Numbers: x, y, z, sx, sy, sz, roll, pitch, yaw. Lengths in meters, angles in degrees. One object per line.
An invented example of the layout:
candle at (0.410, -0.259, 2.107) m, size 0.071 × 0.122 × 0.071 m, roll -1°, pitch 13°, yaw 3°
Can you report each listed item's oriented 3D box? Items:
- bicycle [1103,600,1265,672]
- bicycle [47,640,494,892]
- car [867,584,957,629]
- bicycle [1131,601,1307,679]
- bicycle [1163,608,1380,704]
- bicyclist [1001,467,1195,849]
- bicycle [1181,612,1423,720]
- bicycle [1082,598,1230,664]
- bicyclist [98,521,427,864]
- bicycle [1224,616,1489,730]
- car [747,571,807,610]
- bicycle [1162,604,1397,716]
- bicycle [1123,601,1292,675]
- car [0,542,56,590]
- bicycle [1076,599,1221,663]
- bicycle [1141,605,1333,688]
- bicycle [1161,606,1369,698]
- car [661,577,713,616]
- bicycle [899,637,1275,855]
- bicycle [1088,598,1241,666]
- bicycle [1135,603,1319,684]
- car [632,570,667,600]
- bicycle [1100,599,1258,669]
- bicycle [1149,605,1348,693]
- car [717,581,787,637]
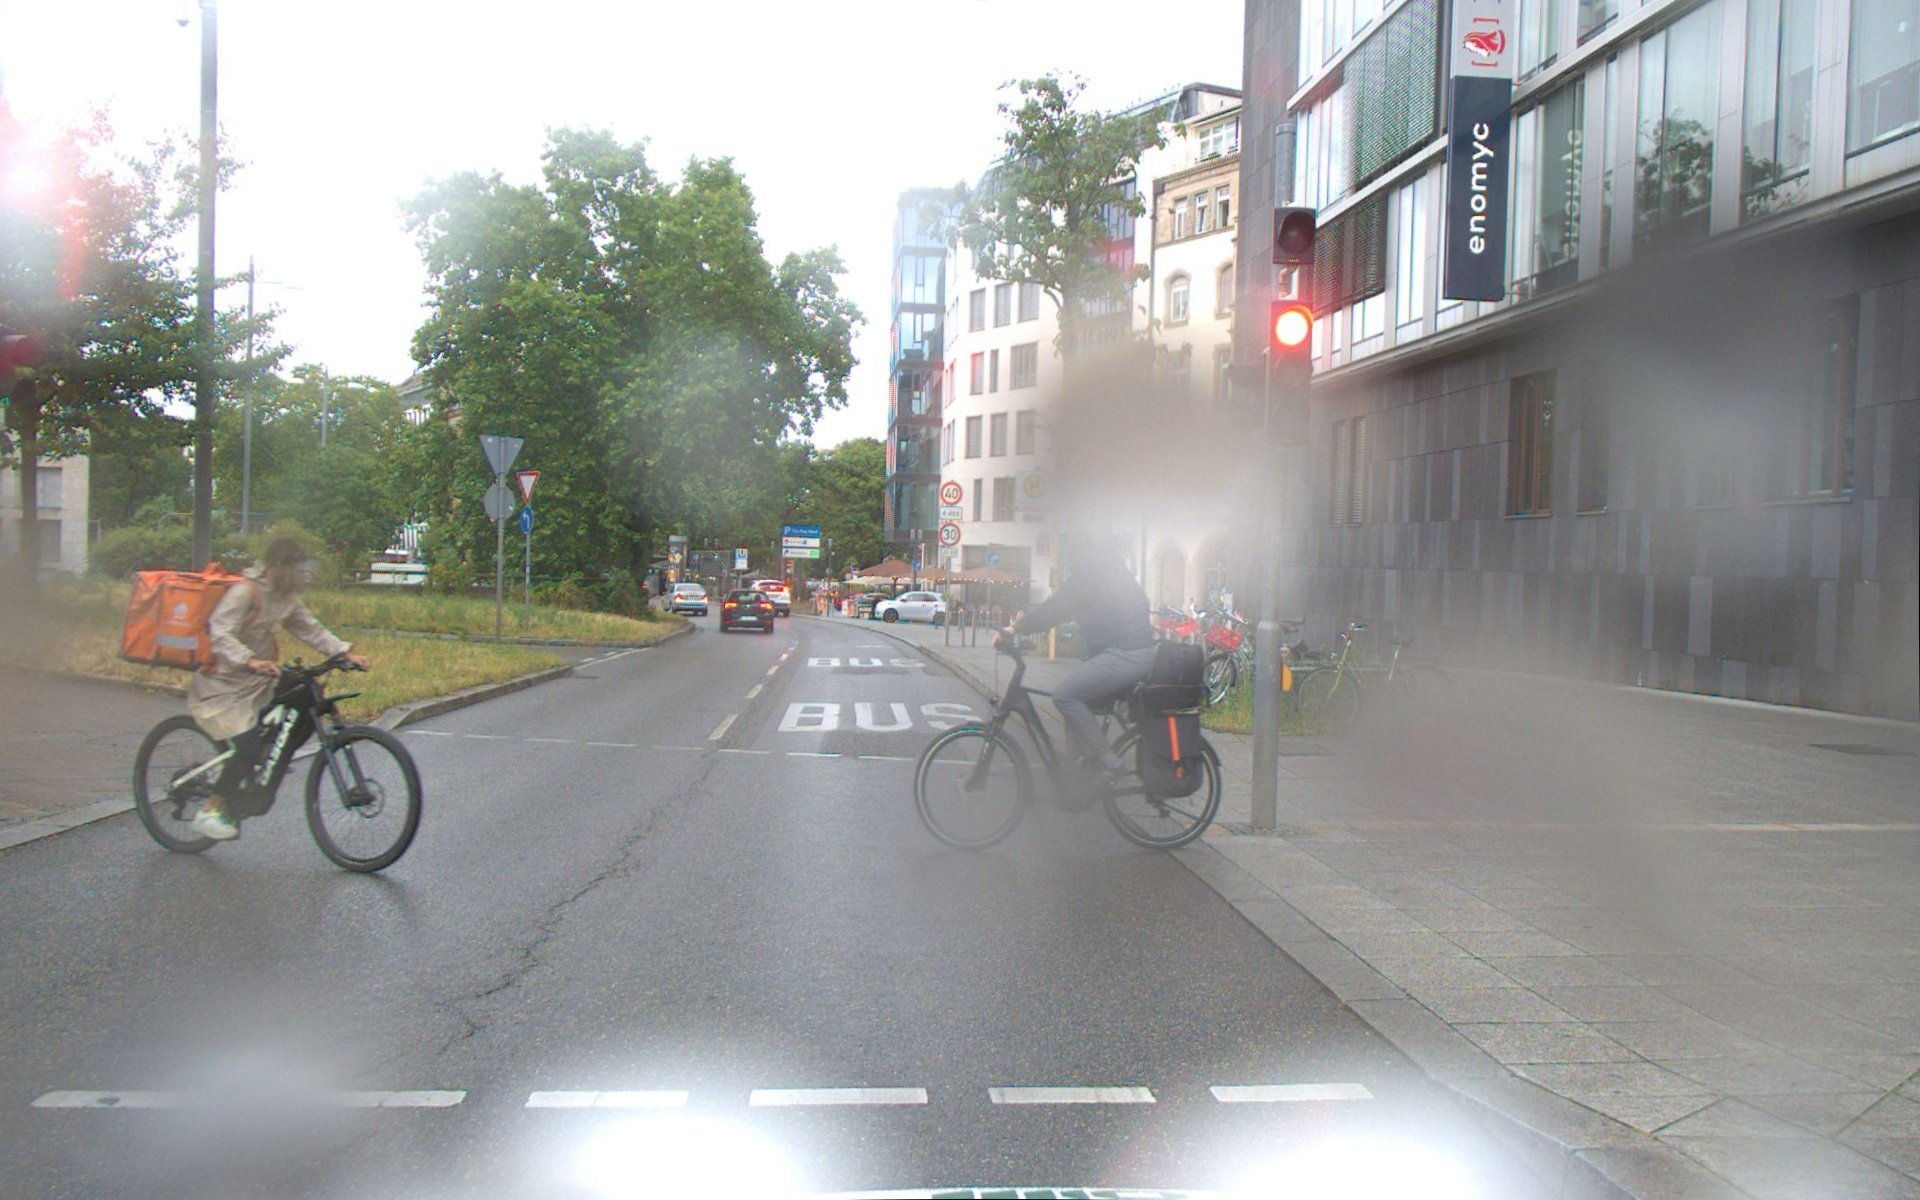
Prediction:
bicycle at (3.581, 0.575, 26.499) m, size 2.486 × 1.106 × 0.677 m, roll 1°, pitch 0°, yaw -6°
bicycle at (-3.592, 0.804, 8.644) m, size 2.019 × 1.133 × 1.011 m, roll 1°, pitch -2°, yaw 23°
car at (-2.257, 0.298, 76.532) m, size 3.911 × 1.675 × 1.998 m, roll 6°, pitch 0°, yaw -5°
bicycle at (3.855, 0.594, 24.685) m, size 2.486 × 1.106 × 0.677 m, roll 1°, pitch 0°, yaw -6°
bicycle at (3.758, 0.671, 20.046) m, size 2.486 × 1.106 × 0.677 m, roll 1°, pitch 0°, yaw -6°
bicyclist at (0.784, 0.321, 9.630) m, size 1.059 × 2.119 × 0.763 m, roll 1°, pitch 0°, yaw 2°
bicycle at (3.708, 0.709, 18.017) m, size 2.487 × 1.106 × 0.677 m, roll 1°, pitch 0°, yaw -6°
bicycle at (3.412, 0.543, 28.885) m, size 2.486 × 1.106 × 0.677 m, roll 1°, pitch 0°, yaw -6°
bicyclist at (-3.636, 0.449, 8.676) m, size 1.110 × 1.609 × 1.014 m, roll 4°, pitch 0°, yaw 24°
bicycle at (3.953, 0.721, 16.543) m, size 2.487 × 1.075 × 0.677 m, roll 1°, pitch 0°, yaw -6°
car at (-8.625, -0.484, 77.831) m, size 2.144 × 1.730 × 3.983 m, roll 2°, pitch 0°, yaw -16°
bicycle at (3.621, 0.673, 18.819) m, size 2.487 × 1.106 × 0.677 m, roll 3°, pitch 0°, yaw -6°
bicycle at (3.829, 0.586, 25.663) m, size 2.486 × 1.106 × 0.677 m, roll 1°, pitch 0°, yaw -6°
car at (-31.465, -1.155, 54.278) m, size 1.772 × 1.512 × 4.373 m, roll 3°, pitch 0°, yaw -10°
bicycle at (3.366, 0.548, 29.606) m, size 2.486 × 1.106 × 0.627 m, roll 1°, pitch 0°, yaw -6°
bicycle at (3.767, 0.634, 22.578) m, size 2.486 × 1.078 × 0.677 m, roll 1°, pitch 0°, yaw -6°
bicycle at (3.843, 0.648, 20.902) m, size 2.486 × 1.106 × 0.677 m, roll 1°, pitch 0°, yaw -6°
car at (-12.575, -0.182, 76.045) m, size 1.913 × 1.675 × 4.227 m, roll 2°, pitch 0°, yaw -16°
bicycle at (0.721, 0.825, 9.628) m, size 2.082 × 1.165 × 0.763 m, roll 1°, pitch 0°, yaw 2°
bicycle at (3.469, 0.536, 28.138) m, size 2.486 × 1.106 × 0.677 m, roll 1°, pitch 0°, yaw -6°
bicycle at (3.782, 0.614, 23.488) m, size 2.486 × 1.106 × 0.677 m, roll 1°, pitch 0°, yaw -6°
car at (-18.304, -0.878, 97.440) m, size 1.910 × 1.675 × 3.989 m, roll 2°, pitch 0°, yaw -11°
bicycle at (3.604, 0.555, 27.251) m, size 2.486 × 1.106 × 0.677 m, roll 1°, pitch 0°, yaw -6°
bicycle at (3.775, 0.637, 21.712) m, size 2.486 × 1.106 × 0.677 m, roll 1°, pitch 0°, yaw -6°
car at (-7.047, 0.261, 55.633) m, size 2.122 × 1.735 × 4.544 m, roll 2°, pitch 0°, yaw -10°
